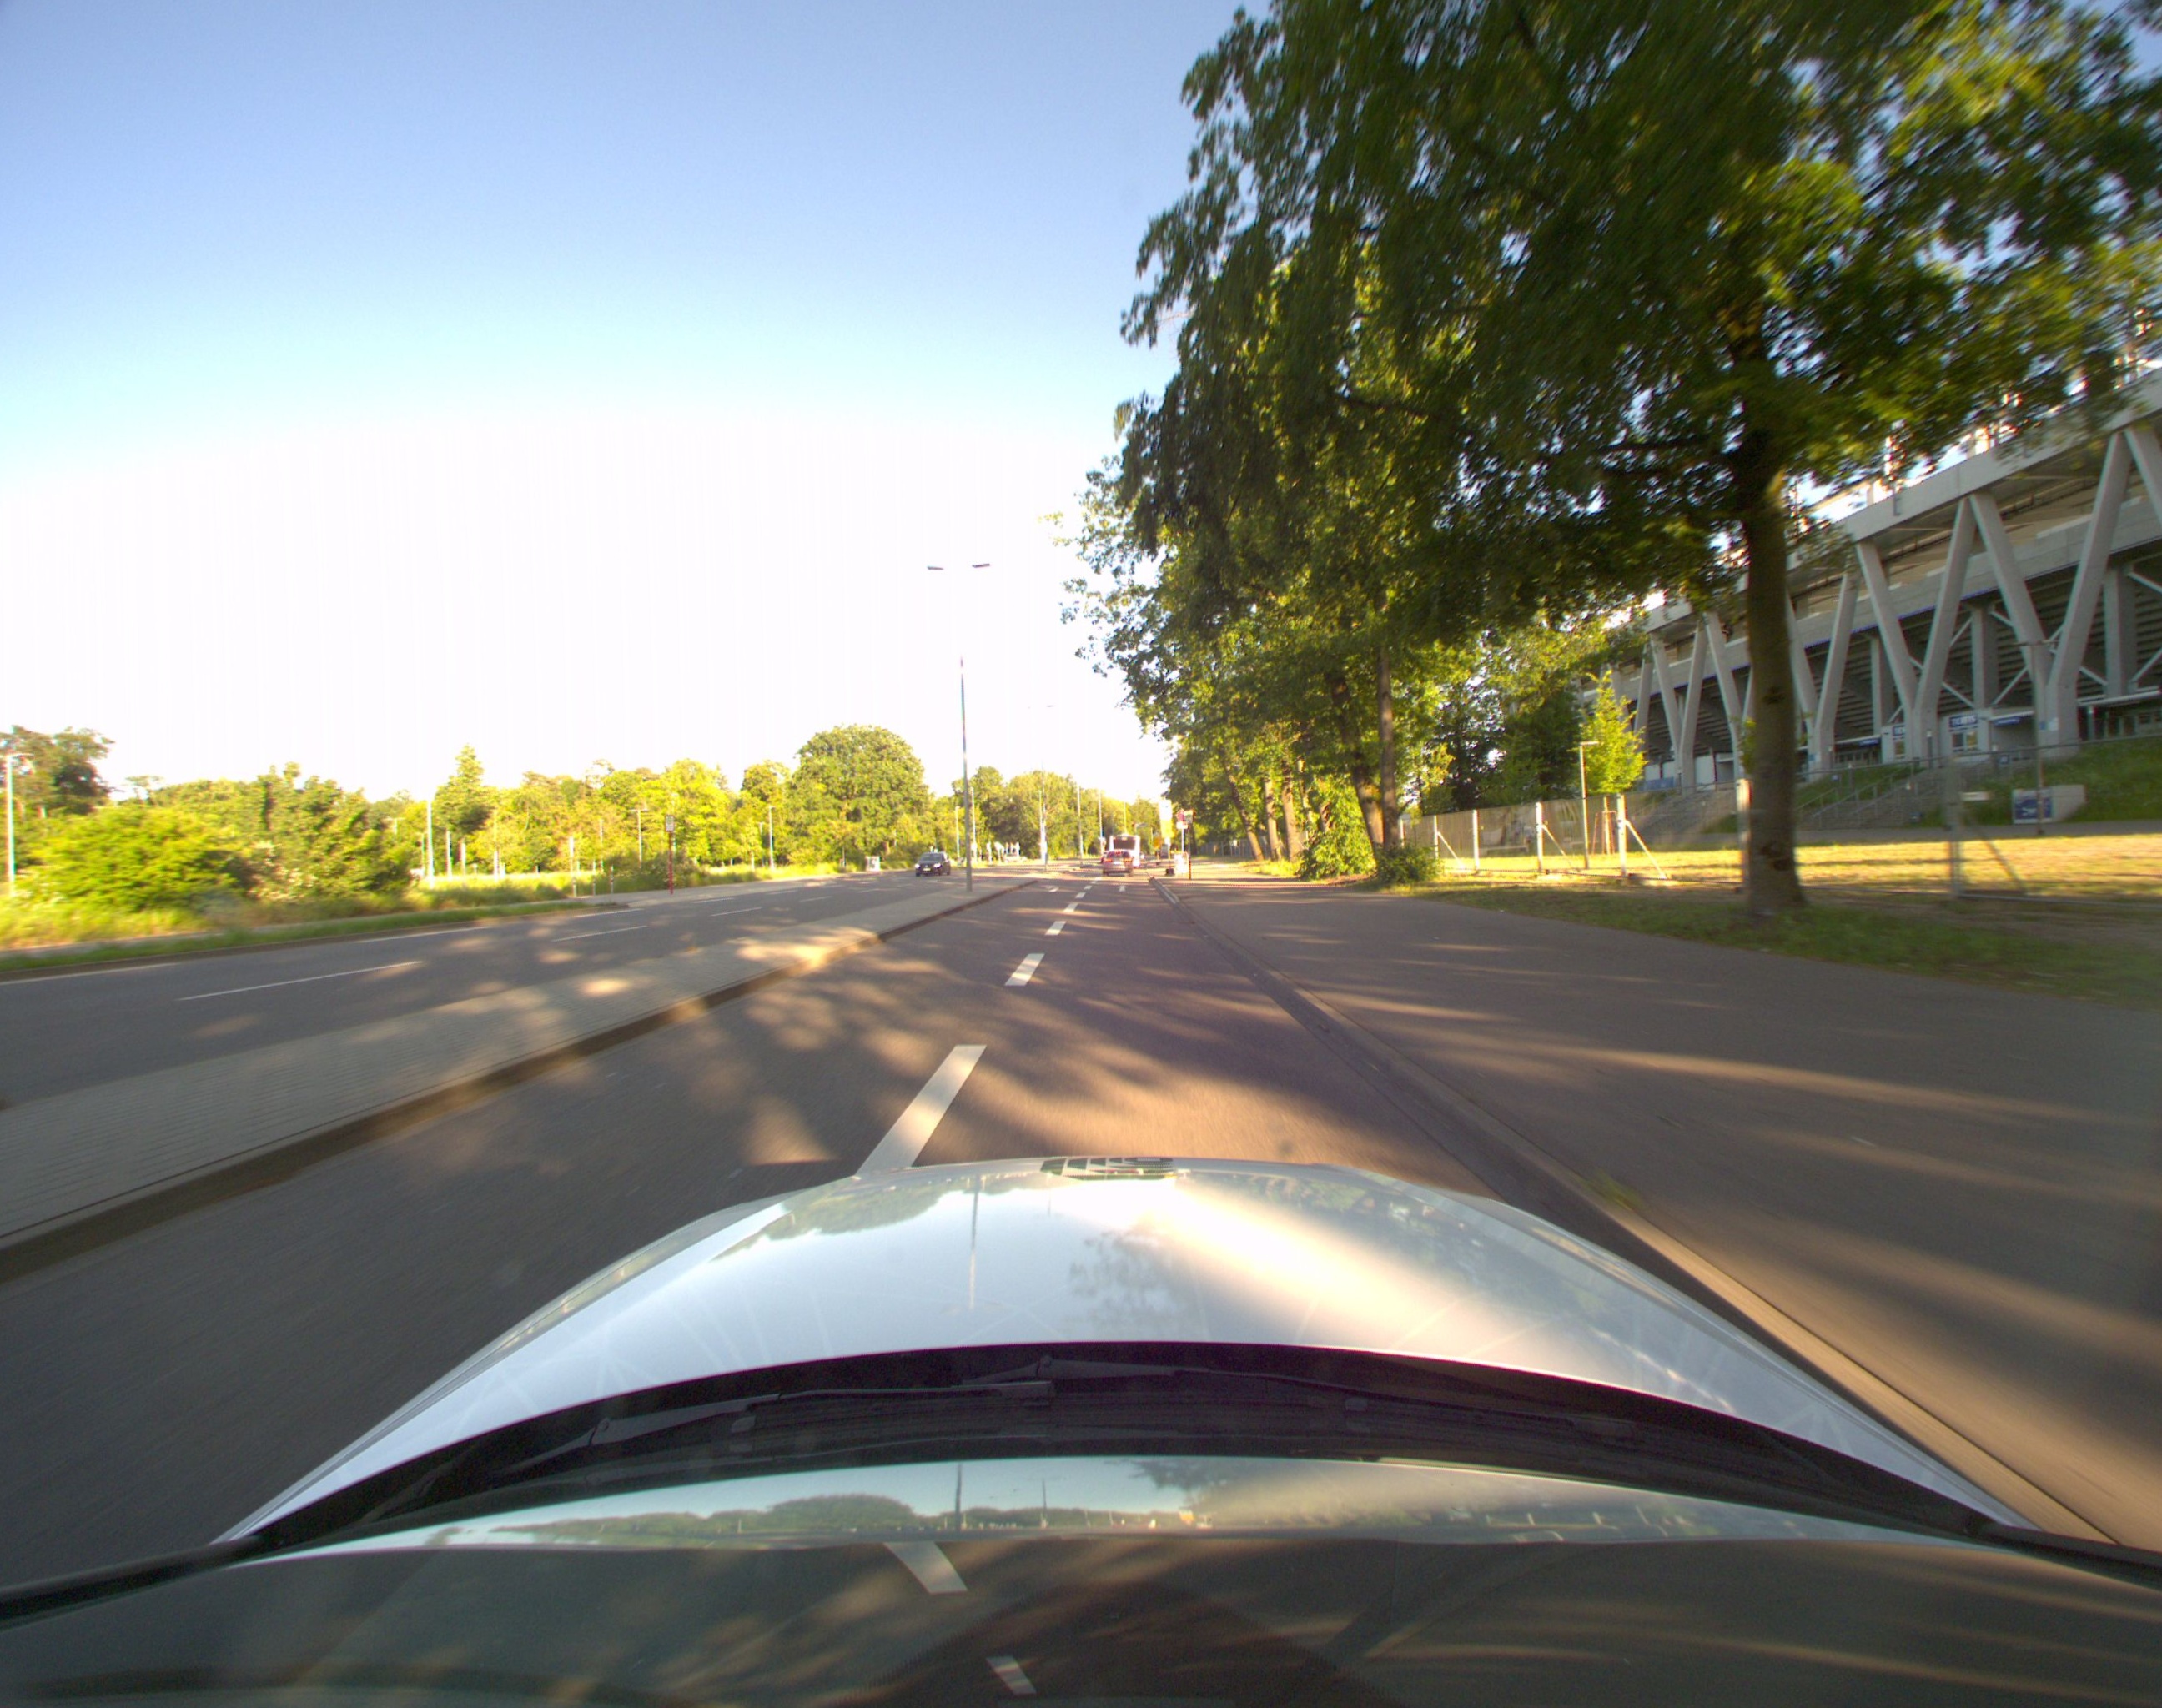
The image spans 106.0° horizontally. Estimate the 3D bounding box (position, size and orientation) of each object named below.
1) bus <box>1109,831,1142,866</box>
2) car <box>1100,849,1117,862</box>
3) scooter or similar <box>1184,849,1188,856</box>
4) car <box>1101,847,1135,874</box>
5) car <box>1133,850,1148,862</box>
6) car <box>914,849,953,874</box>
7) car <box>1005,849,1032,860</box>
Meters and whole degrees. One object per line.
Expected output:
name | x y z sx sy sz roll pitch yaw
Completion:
bus | 4.141 -0.457 73.967 2.582 2.989 9.341 -1 0 6
car | 3.348 0.161 98.178 1.827 1.518 4.006 -2 0 5
scooter or similar | 21.738 -0.370 168.829 0.506 1.444 2.022 -3 0 0
car | 2.361 0.384 50.461 1.889 1.632 4.006 0 0 5
car | 8.574 0.313 116.339 1.900 1.728 4.588 -1 0 7
car | -10.490 0.535 58.306 1.776 1.692 4.705 0 1 2
car | -10.507 0.141 137.869 4.200 1.585 2.106 -3 0 3
